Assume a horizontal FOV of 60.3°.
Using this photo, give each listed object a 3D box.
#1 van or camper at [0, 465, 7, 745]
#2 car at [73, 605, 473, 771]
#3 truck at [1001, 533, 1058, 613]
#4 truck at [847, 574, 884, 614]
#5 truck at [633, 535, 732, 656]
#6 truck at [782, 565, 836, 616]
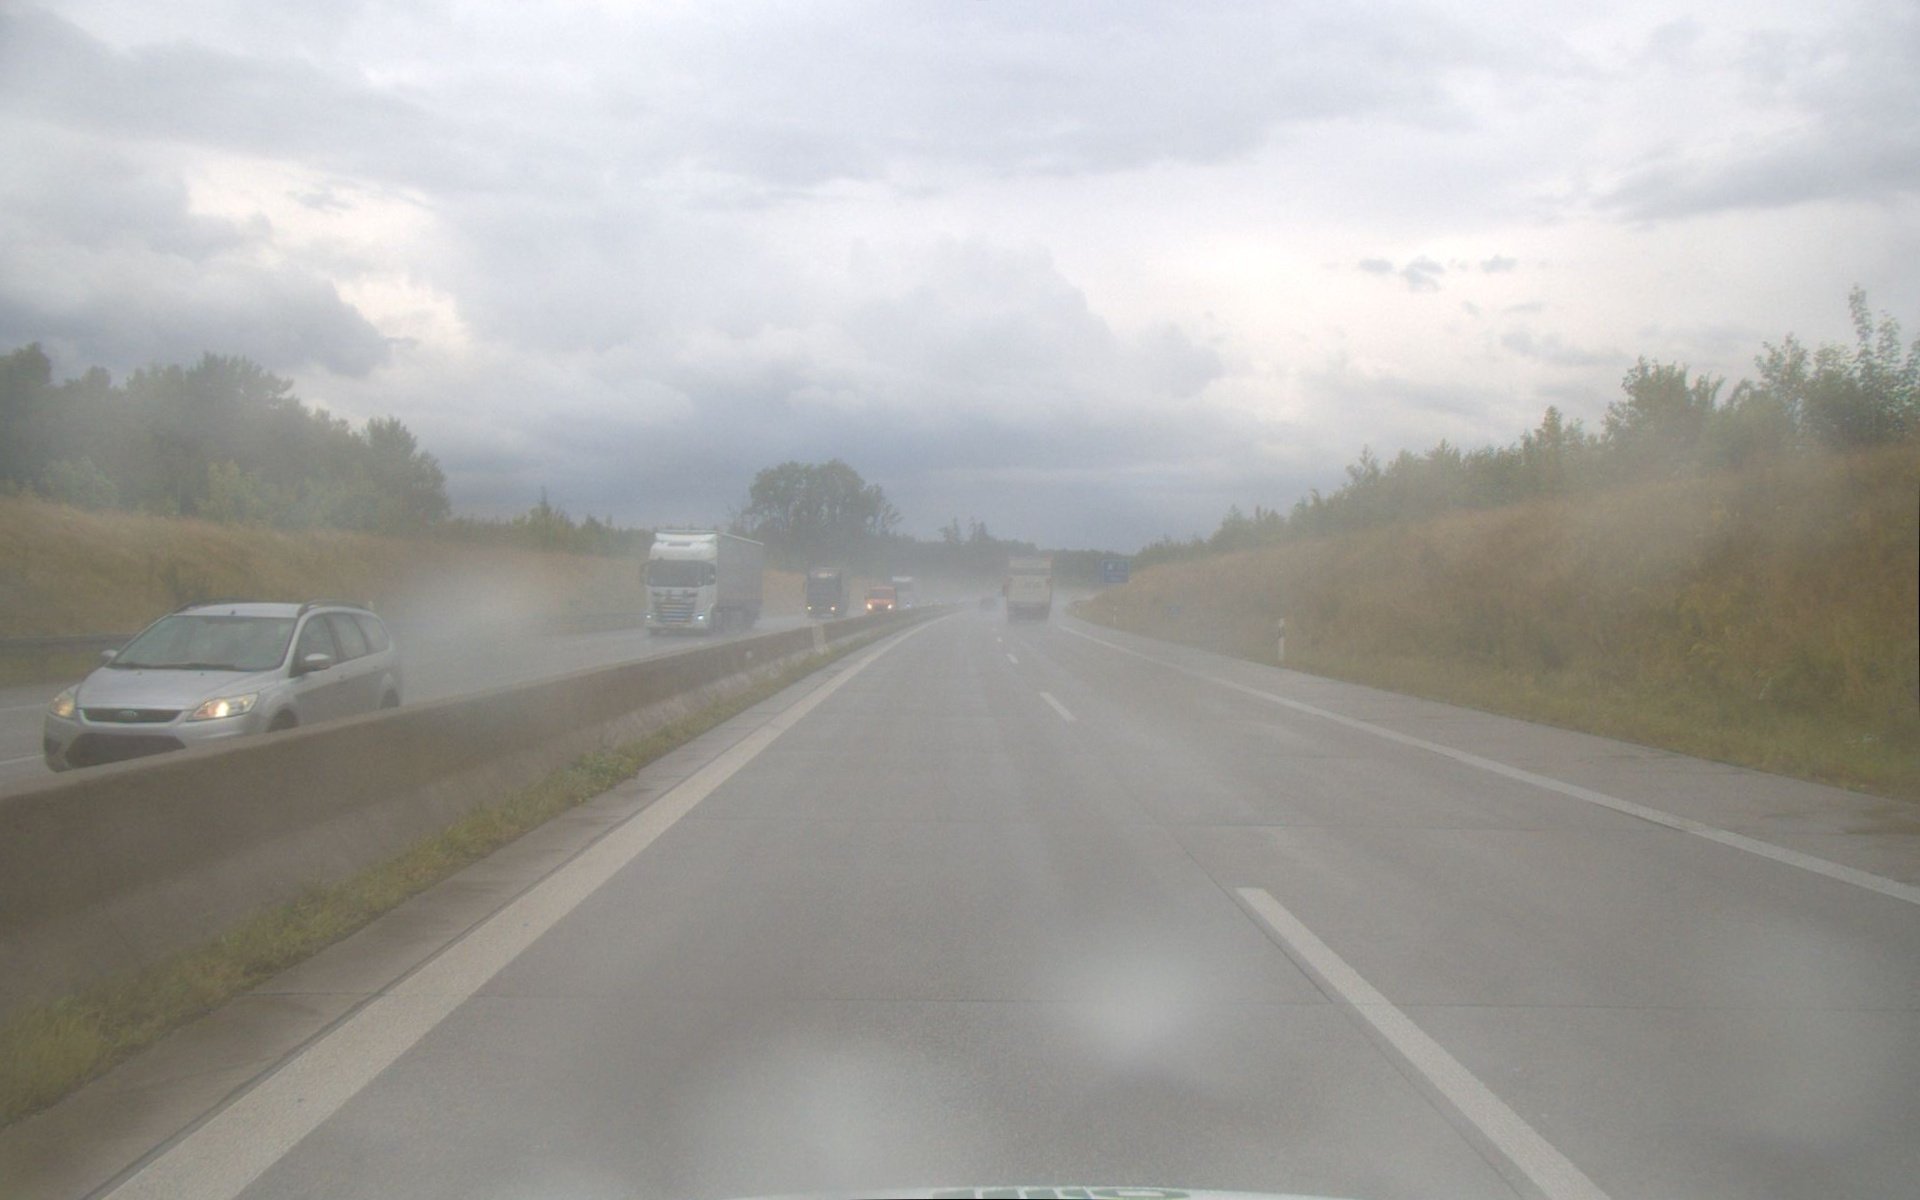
[{"bbox_3d":[-10.207,0.135,11.661,2.394,2.640,7.928,2,2,-1],"label":"van or camper"},{"bbox_3d":[-6.277,0.726,15.766,1.953,1.334,4.510,0,0,0],"label":"car"},{"bbox_3d":[4.111,-1.576,97.335,3.176,4.514,8.249,0,1,3],"label":"truck"},{"bbox_3d":[-6.801,-0.449,119.559,2.284,2.831,6.161,0,0,1],"label":"truck"},{"bbox_3d":[-11.055,-0.177,66.488,2.763,4.599,6.625,1,0,1],"label":"truck"},{"bbox_3d":[-11.123,-0.694,122.557,3.103,3.595,8.365,0,0,1],"label":"truck"}]
